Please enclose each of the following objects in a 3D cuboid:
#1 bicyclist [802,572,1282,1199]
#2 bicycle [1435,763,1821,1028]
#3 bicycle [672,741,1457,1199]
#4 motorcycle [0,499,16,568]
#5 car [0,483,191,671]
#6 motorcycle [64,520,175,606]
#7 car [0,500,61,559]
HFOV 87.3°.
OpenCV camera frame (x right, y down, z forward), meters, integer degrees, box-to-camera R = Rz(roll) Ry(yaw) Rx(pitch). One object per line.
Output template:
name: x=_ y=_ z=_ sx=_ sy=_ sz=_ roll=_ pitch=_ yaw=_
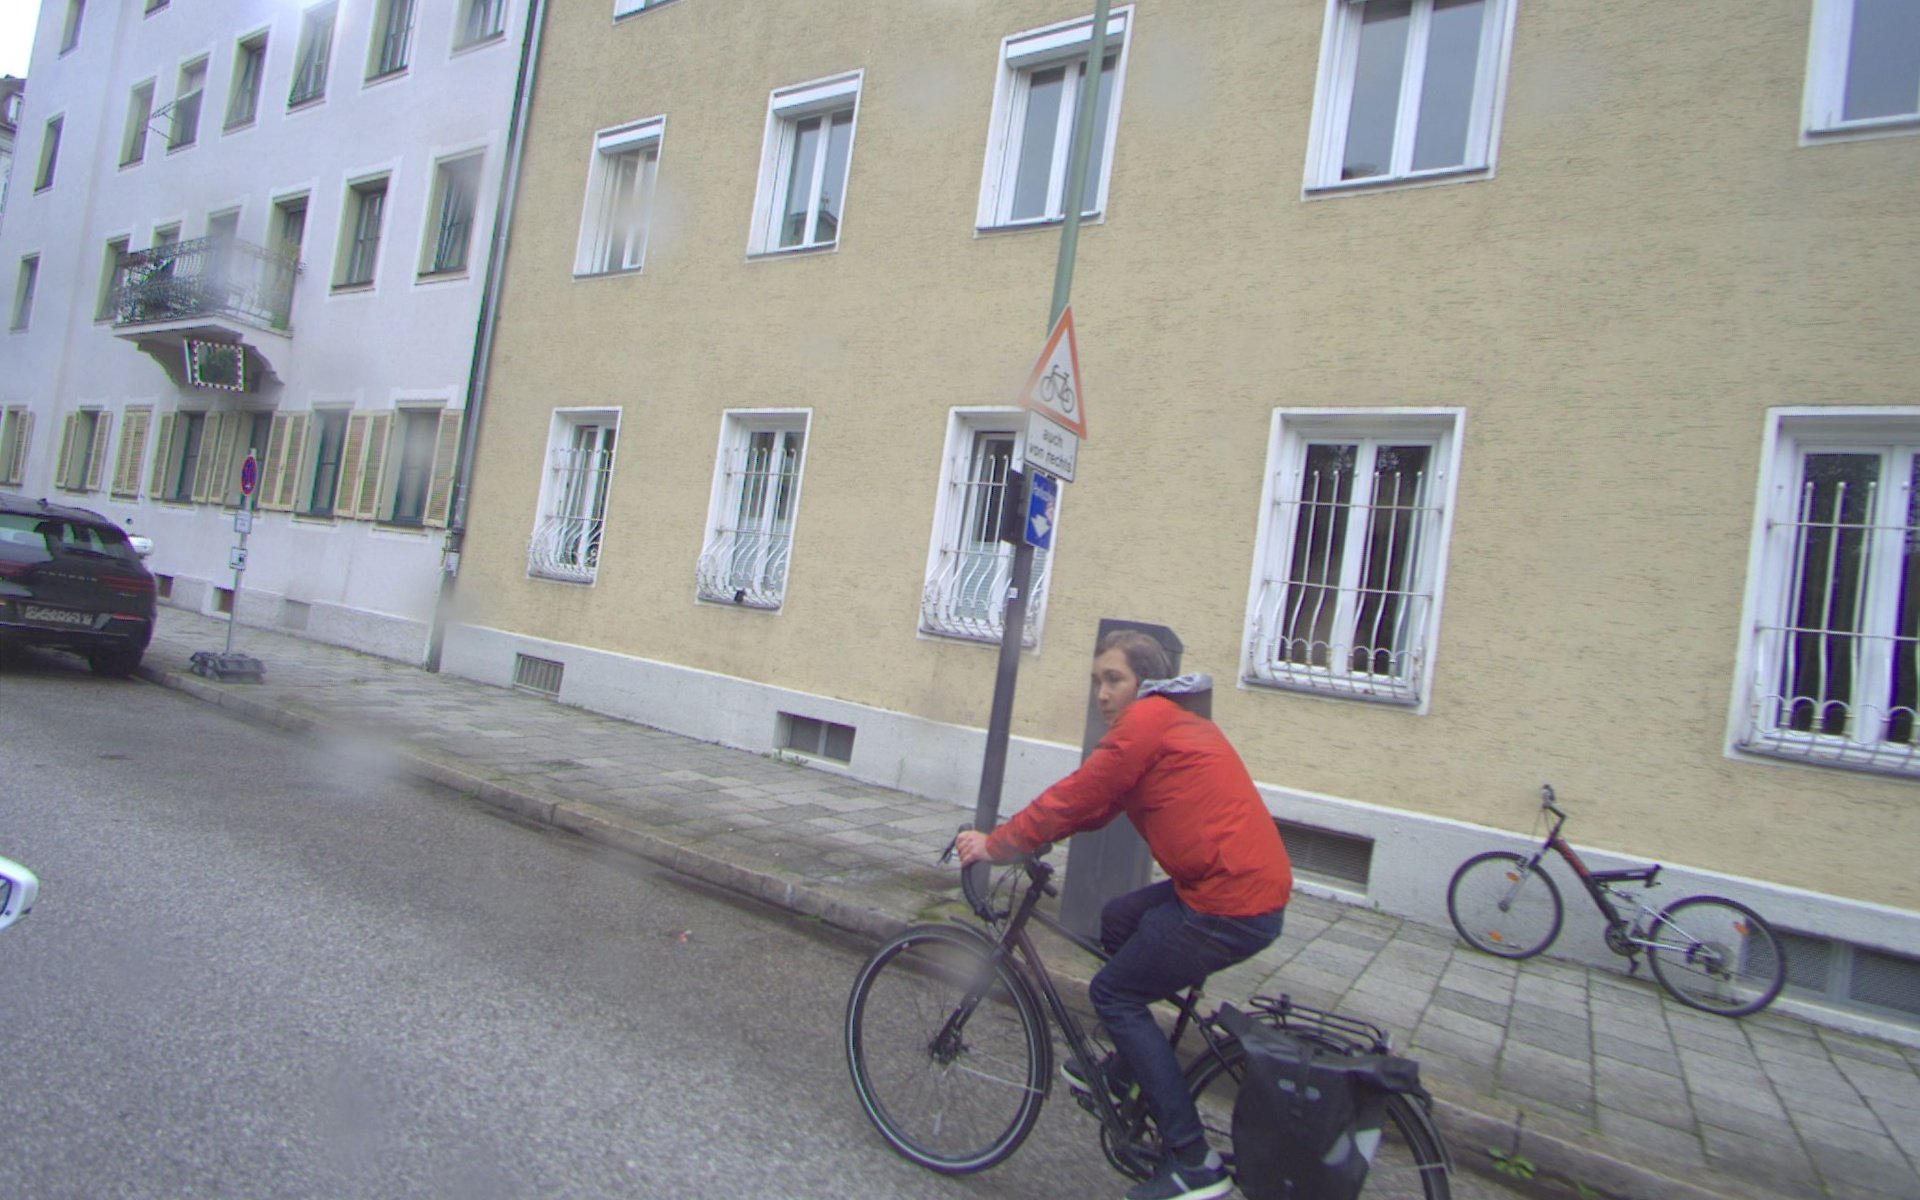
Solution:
bicyclist: x=0.271 y=0.766 z=2.892 sx=0.964 sy=1.498 sz=0.757 roll=7 pitch=-4 yaw=28
bicycle: x=3.905 y=1.694 z=6.032 sx=1.783 sy=1.095 sz=0.342 roll=6 pitch=0 yaw=32
bicycle: x=0.244 y=1.147 z=2.859 sx=1.976 sy=1.153 sz=0.675 roll=7 pitch=-4 yaw=28
motorcycle: x=-21.967 y=-1.609 z=22.181 sx=2.661 sy=1.449 sz=0.859 roll=7 pitch=-2 yaw=31
car: x=-10.283 y=-0.430 z=10.401 sx=4.816 sy=1.595 sz=1.865 roll=7 pitch=-2 yaw=30
motorcycle: x=-14.704 y=-0.660 z=17.586 sx=1.974 sy=1.252 sz=0.734 roll=6 pitch=-4 yaw=32
car: x=-31.002 y=-2.493 z=30.665 sx=1.881 sy=1.548 sz=4.917 roll=10 pitch=-1 yaw=32
